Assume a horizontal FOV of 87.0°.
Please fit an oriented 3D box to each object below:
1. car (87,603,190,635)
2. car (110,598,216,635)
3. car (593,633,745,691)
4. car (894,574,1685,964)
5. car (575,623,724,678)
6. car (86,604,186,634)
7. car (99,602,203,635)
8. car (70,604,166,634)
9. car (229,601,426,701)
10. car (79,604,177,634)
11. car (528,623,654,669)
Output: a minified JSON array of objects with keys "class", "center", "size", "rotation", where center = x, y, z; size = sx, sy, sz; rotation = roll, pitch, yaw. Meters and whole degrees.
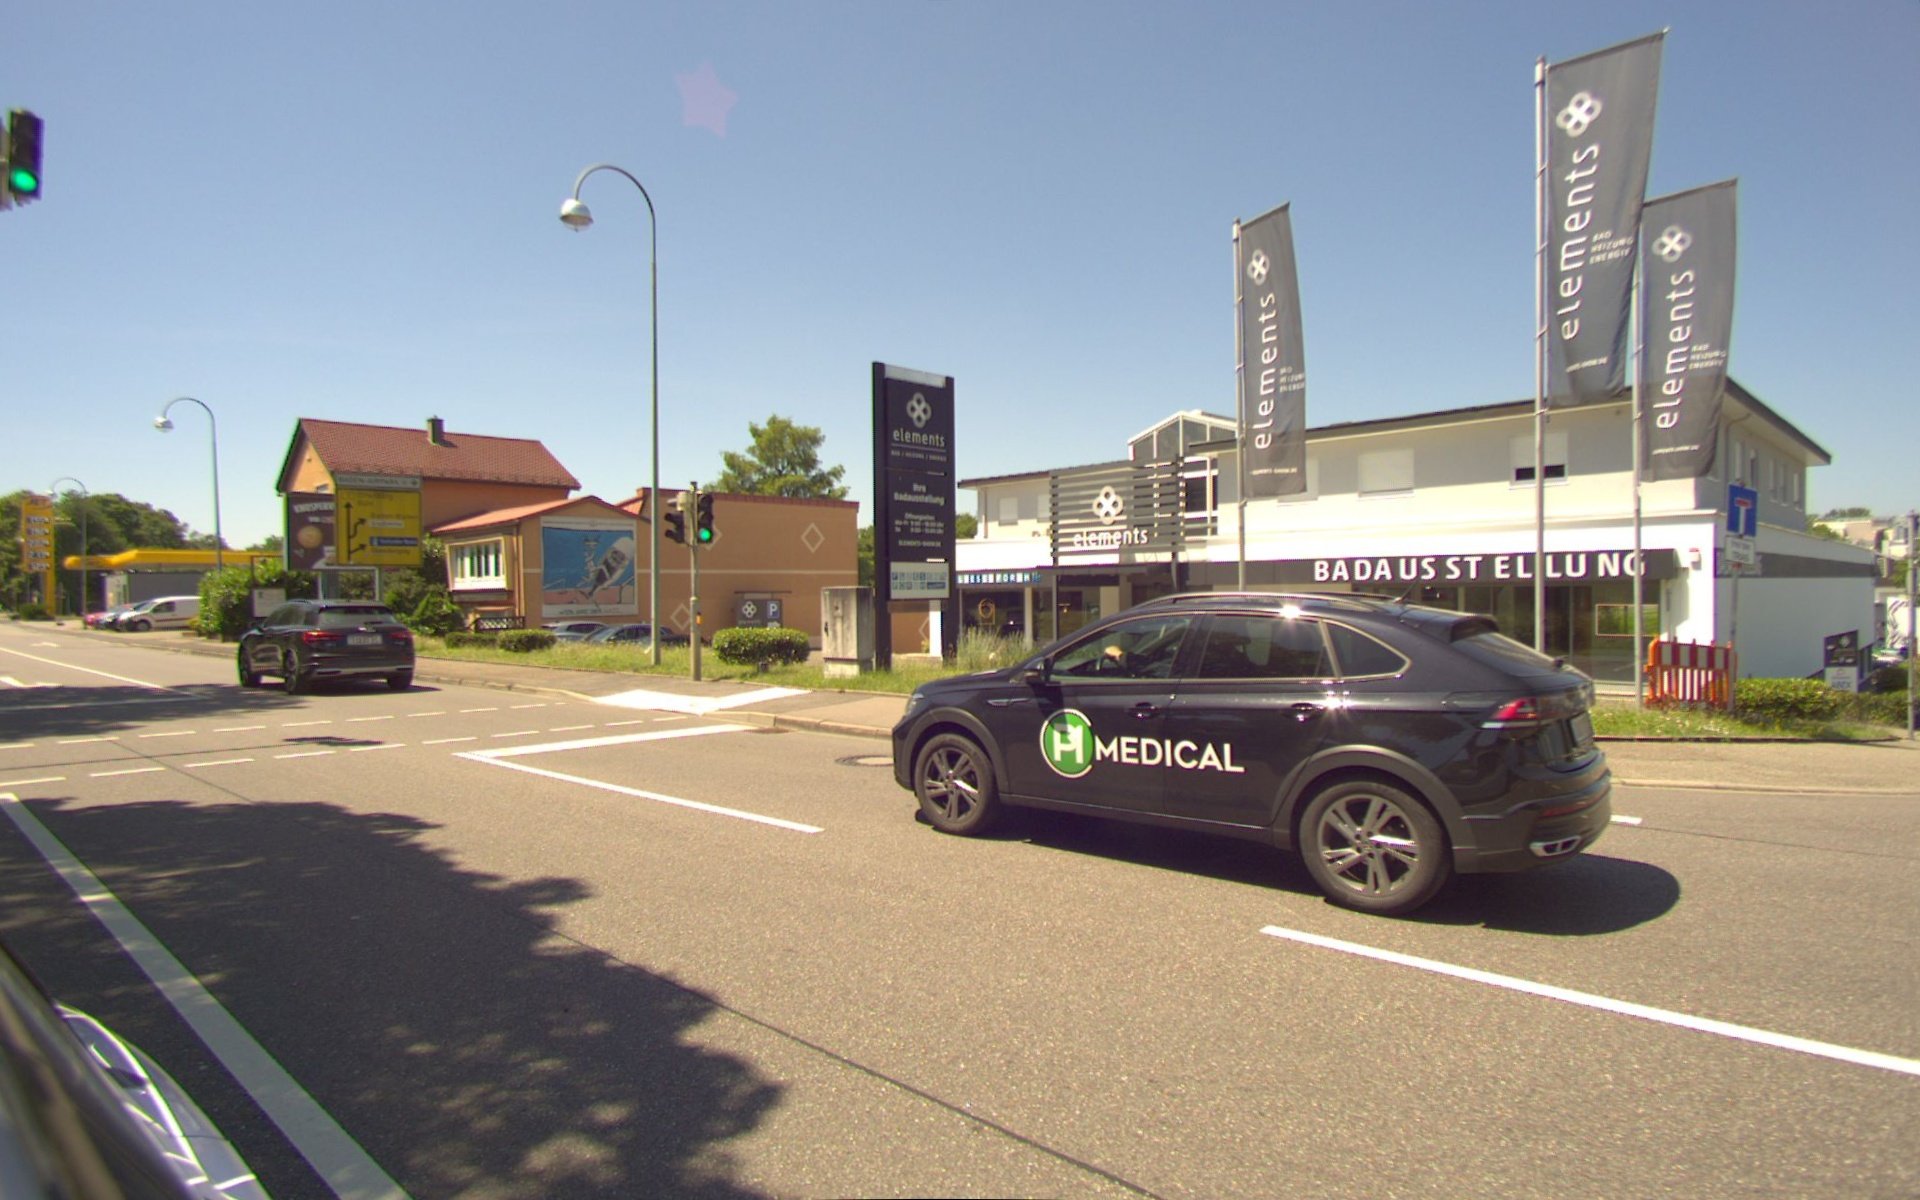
[{"class":"car","center":[-47.800,1.074,58.952],"size":[1.872,1.773,4.349],"rotation":[-1,-1,37]},{"class":"car","center":[-42.857,0.855,54.504],"size":[1.872,1.883,4.140],"rotation":[-1,-1,37]},{"class":"car","center":[-8.706,1.803,30.420],"size":[4.037,1.544,1.773],"rotation":[0,-1,-42]},{"class":"car","center":[1.718,0.676,5.958],"size":[4.048,1.518,1.851],"rotation":[-1,-1,39]},{"class":"car","center":[-10.365,1.646,33.972],"size":[4.460,1.654,1.773],"rotation":[0,-1,-42]},{"class":"car","center":[-49.328,1.113,60.646],"size":[1.872,1.773,4.349],"rotation":[-1,-1,37]},{"class":"car","center":[-44.583,0.990,55.853],"size":[1.872,1.773,4.195],"rotation":[-1,-1,37]},{"class":"car","center":[-52.926,1.160,63.657],"size":[1.872,1.773,4.349],"rotation":[-1,-1,37]},{"class":"car","center":[-11.346,0.824,18.039],"size":[4.302,1.567,1.905],"rotation":[-1,-1,43]},{"class":"car","center":[-51.035,1.122,62.169],"size":[1.872,1.773,4.349],"rotation":[-1,-1,37]},{"class":"car","center":[-14.015,1.705,38.512],"size":[4.163,1.621,1.774],"rotation":[0,-1,-40]}]
